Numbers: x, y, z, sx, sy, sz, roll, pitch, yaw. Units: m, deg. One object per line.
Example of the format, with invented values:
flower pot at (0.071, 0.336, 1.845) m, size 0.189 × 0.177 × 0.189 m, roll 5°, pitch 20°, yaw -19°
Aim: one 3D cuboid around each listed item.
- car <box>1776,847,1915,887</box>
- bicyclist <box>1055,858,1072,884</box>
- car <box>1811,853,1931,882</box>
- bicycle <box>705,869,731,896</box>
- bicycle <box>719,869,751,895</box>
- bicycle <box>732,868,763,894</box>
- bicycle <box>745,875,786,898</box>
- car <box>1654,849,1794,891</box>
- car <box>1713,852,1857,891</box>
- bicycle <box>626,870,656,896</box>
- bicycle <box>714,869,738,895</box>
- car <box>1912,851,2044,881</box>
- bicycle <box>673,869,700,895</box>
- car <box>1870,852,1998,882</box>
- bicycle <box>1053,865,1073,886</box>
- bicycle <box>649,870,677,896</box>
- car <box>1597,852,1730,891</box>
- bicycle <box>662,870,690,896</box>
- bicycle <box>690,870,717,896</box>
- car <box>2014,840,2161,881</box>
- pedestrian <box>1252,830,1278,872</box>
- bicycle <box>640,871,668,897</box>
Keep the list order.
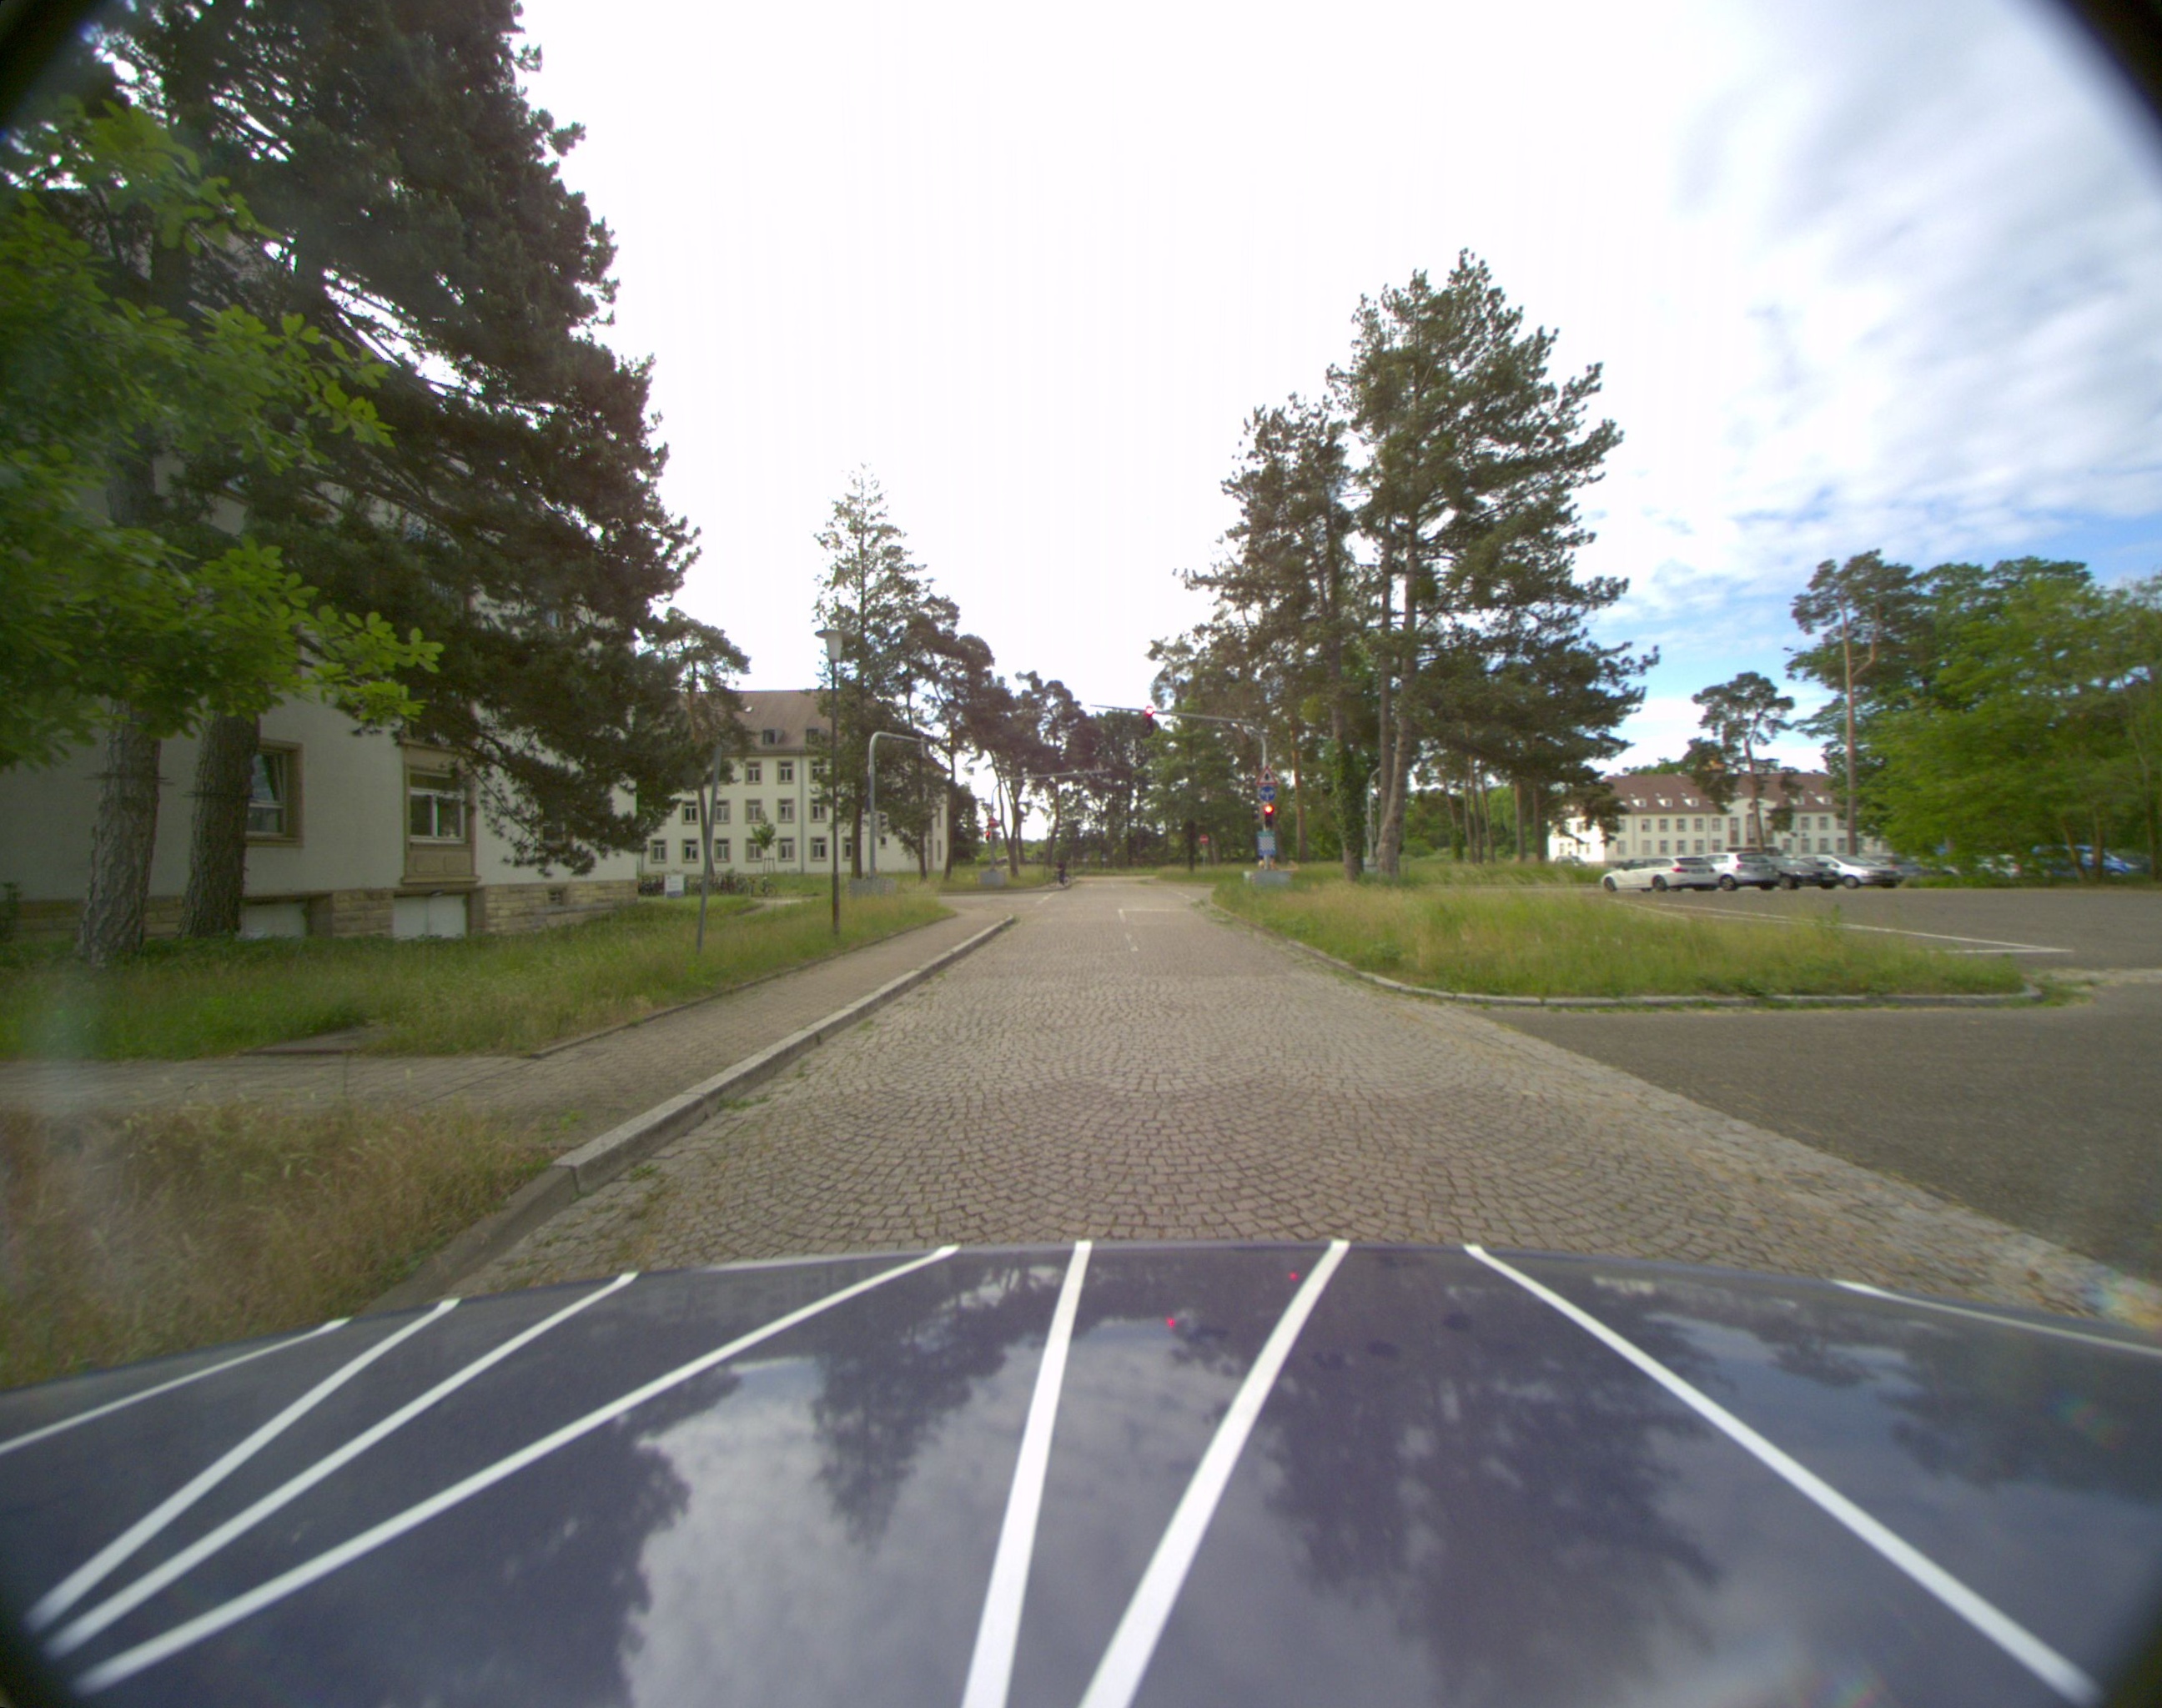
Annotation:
car at (31.872, 0.588, 31.880) m, size 1.736 × 1.512 × 4.116 m, roll -1°, pitch -2°, yaw 2°
bicyclist at (-1.133, 1.060, 48.643) m, size 0.963 × 1.625 × 0.918 m, roll -1°, pitch 0°, yaw 5°
car at (43.898, 0.811, 42.374) m, size 1.840 × 1.512 × 4.586 m, roll -1°, pitch -2°, yaw -1°
bicycle at (-19.262, 1.498, 40.354) m, size 0.572 × 1.324 × 1.837 m, roll -1°, pitch 0°, yaw -3°
bicycle at (-18.333, 1.461, 40.308) m, size 0.572 × 1.324 × 1.839 m, roll -1°, pitch 0°, yaw 9°
bicycle at (-17.703, 1.446, 40.408) m, size 0.572 × 1.324 × 1.839 m, roll -1°, pitch 0°, yaw 9°
bicycle at (-16.046, 1.657, 38.700) m, size 1.836 × 1.079 × 0.573 m, roll -1°, pitch 2°, yaw 5°
car at (26.465, 0.693, 31.530) m, size 1.840 × 1.568 × 4.586 m, roll -1°, pitch -2°, yaw -1°
car at (29.120, 0.760, 31.676) m, size 1.839 × 1.460 × 4.587 m, roll -1°, pitch -2°, yaw 2°
bicycle at (-23.374, 1.535, 40.414) m, size 0.572 × 1.324 × 1.837 m, roll -1°, pitch 0°, yaw -3°
bicycle at (-18.830, 1.481, 40.332) m, size 0.482 × 1.324 × 1.837 m, roll -1°, pitch 0°, yaw -3°
car at (49.657, 0.712, 42.236) m, size 1.840 × 1.564 × 4.586 m, roll -1°, pitch -2°, yaw -1°
bicycle at (-20.884, 1.483, 40.276) m, size 0.572 × 1.324 × 1.837 m, roll -1°, pitch 0°, yaw -3°
car at (46.626, 0.751, 41.704) m, size 1.840 × 1.549 × 4.586 m, roll -1°, pitch -2°, yaw -1°
bicycle at (-1.133, 1.362, 48.626) m, size 0.963 × 1.268 × 2.164 m, roll -1°, pitch 0°, yaw 5°
bicycle at (-22.170, 1.535, 40.332) m, size 0.572 × 1.324 × 1.837 m, roll -1°, pitch 0°, yaw -3°
car at (23.851, 0.758, 31.388) m, size 1.840 × 1.441 × 4.657 m, roll -1°, pitch -2°, yaw -1°
bicycle at (-21.450, 1.506, 40.263) m, size 0.572 × 1.324 × 1.837 m, roll -1°, pitch 0°, yaw -3°
bicycle at (-20.029, 1.508, 40.310) m, size 0.572 × 1.324 × 1.837 m, roll -1°, pitch 0°, yaw -3°
car at (54.984, 0.409, 41.526) m, size 1.839 × 2.084 × 4.984 m, roll -1°, pitch -2°, yaw 1°
pedestrian at (6.779, -0.091, 27.955) m, size 0.882 × 1.508 × 0.822 m, roll -1°, pitch 0°, yaw 16°
bicycle at (-22.774, 1.560, 40.548) m, size 0.572 × 1.324 × 1.837 m, roll -1°, pitch 0°, yaw -3°
